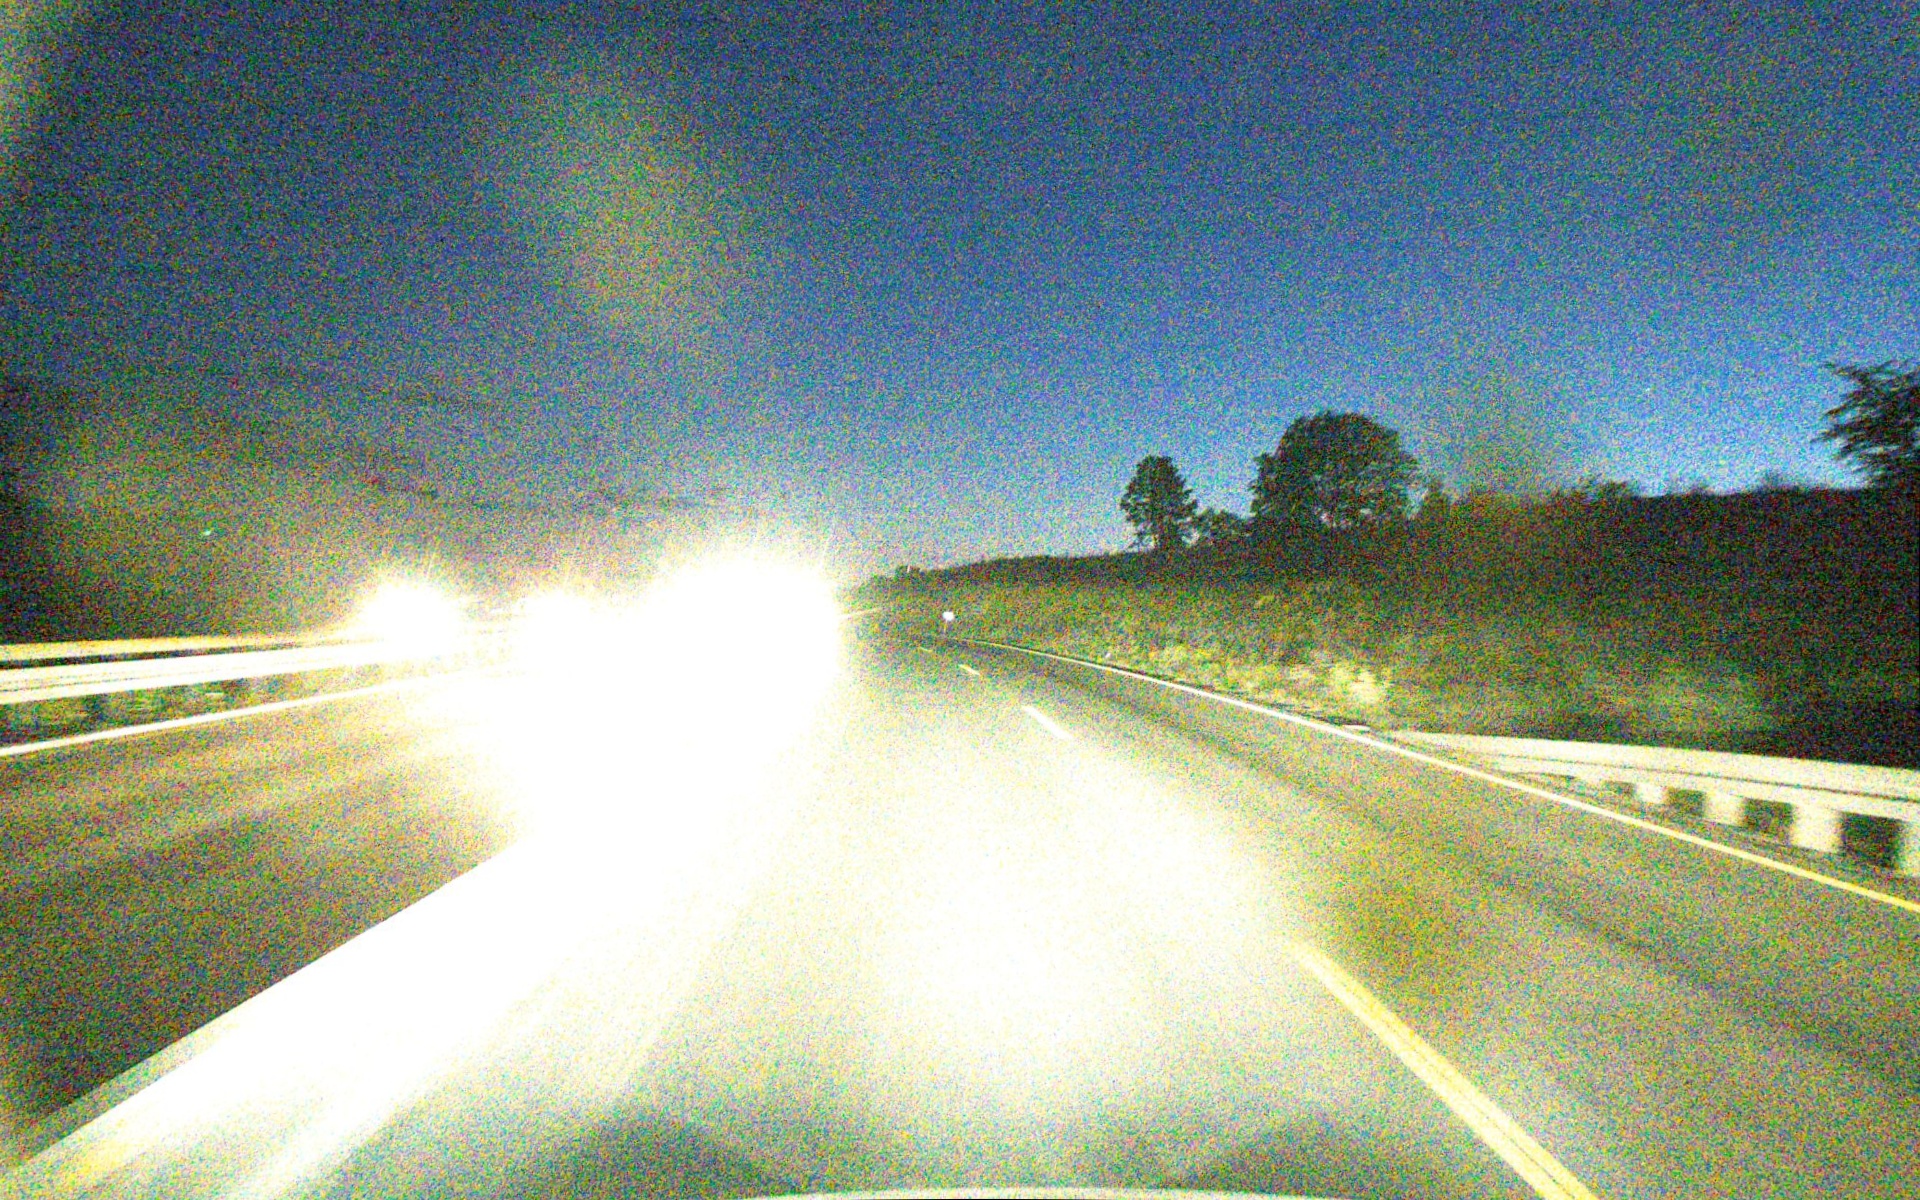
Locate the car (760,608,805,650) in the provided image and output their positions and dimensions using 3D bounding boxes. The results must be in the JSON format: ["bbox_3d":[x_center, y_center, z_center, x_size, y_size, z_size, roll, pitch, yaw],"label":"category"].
[{"bbox_3d":[-6.677,1.084,62.409,1.619,1.495,3.995,-1,-1,-5],"label":"car"}]

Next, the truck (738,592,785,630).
[{"bbox_3d":[-25.521,1.485,212.272,3.946,4.632,13.895,0,-1,-15],"label":"truck"}]

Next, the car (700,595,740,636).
[{"bbox_3d":[-12.375,0.813,85.604,1.956,2.049,5.577,-1,-1,-8],"label":"car"}]

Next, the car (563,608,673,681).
[{"bbox_3d":[-7.040,0.906,34.447,1.683,1.404,4.239,1,-1,-4],"label":"car"}]
